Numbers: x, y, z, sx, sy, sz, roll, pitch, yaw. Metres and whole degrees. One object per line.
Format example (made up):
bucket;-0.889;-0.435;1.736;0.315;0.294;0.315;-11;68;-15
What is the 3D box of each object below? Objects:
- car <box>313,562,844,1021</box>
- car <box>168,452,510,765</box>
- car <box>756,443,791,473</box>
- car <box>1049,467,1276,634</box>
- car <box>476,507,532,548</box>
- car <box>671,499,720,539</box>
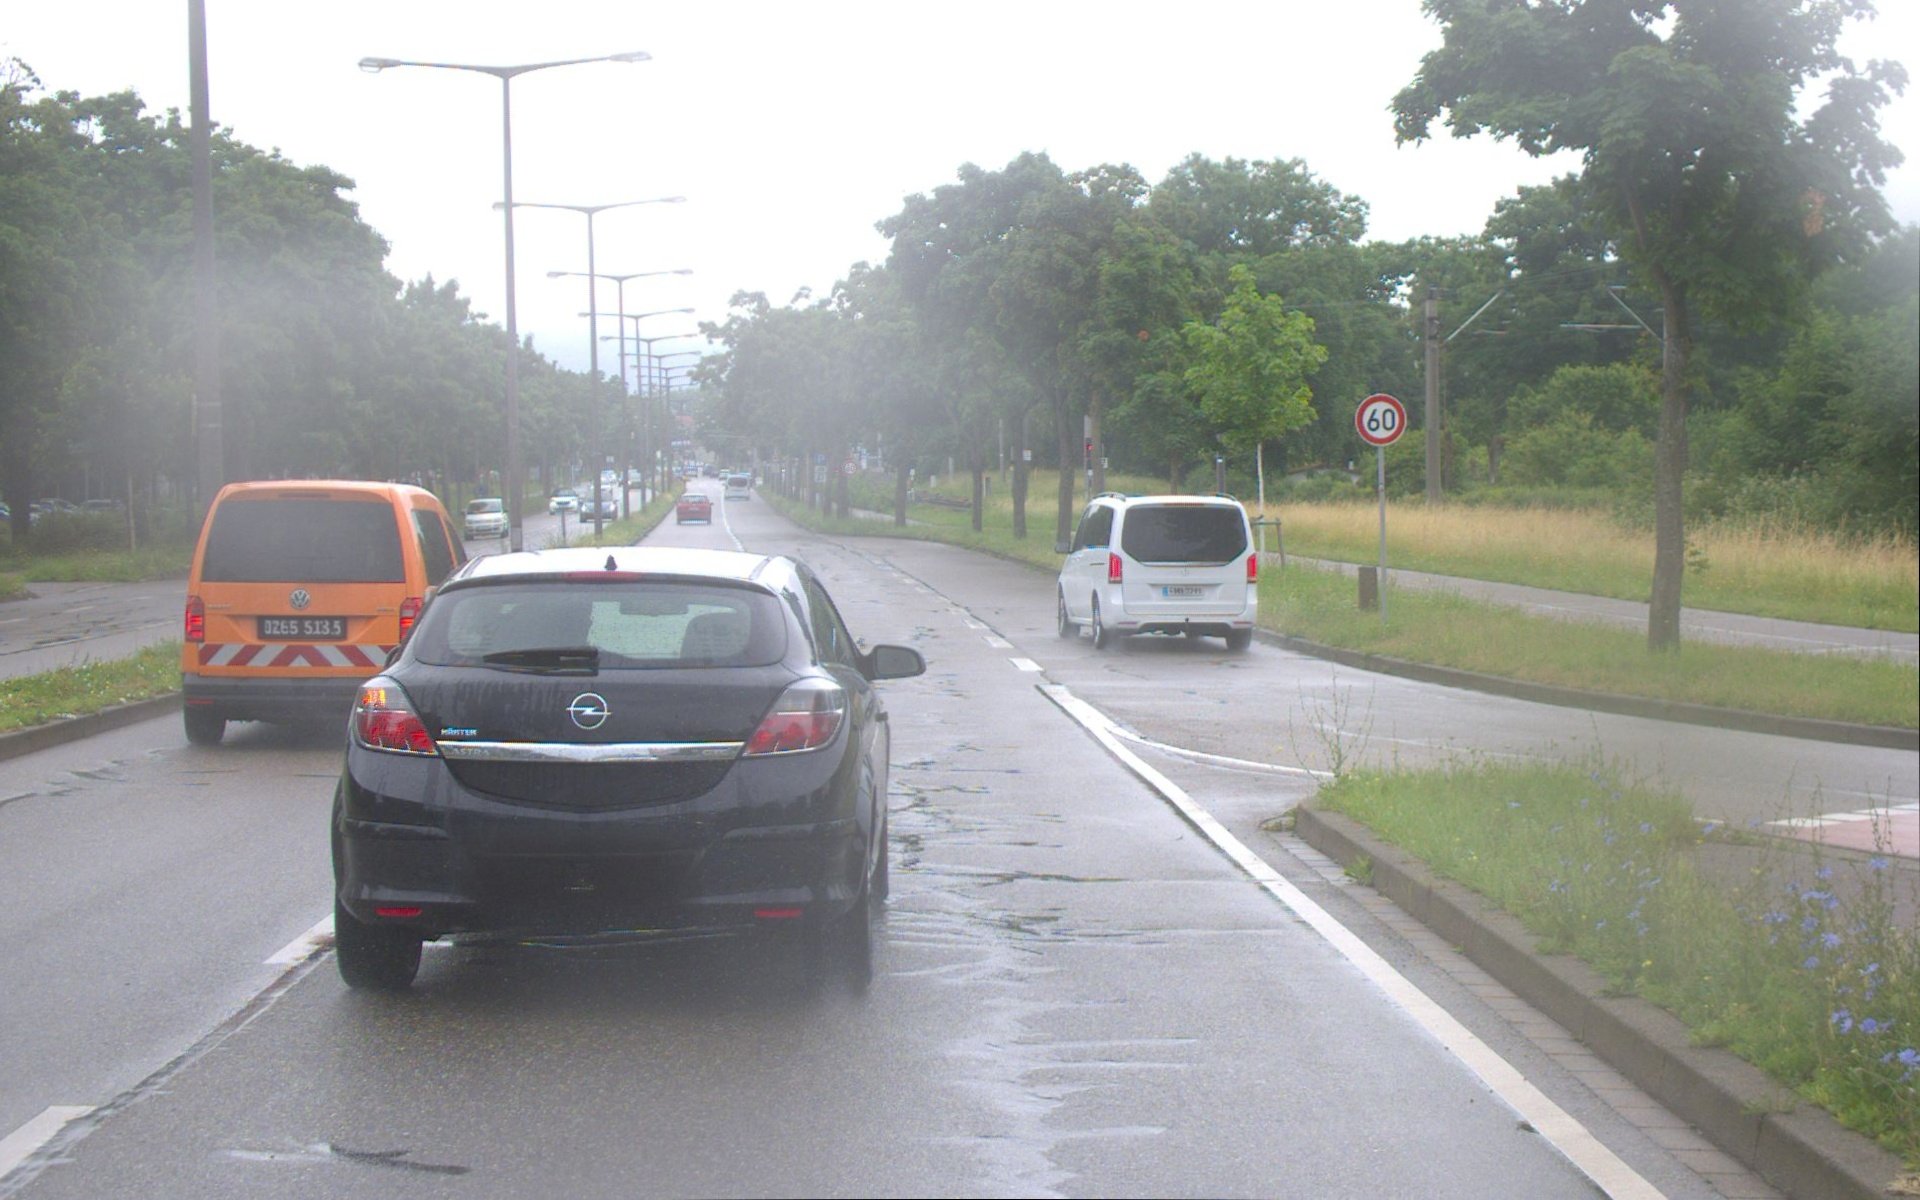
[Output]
car;-1.207;0.555;12.173;1.463;1.324;3.758;0;1;0
car;-4.337;-0.008;24.685;1.734;2.012;4.850;0;2;-2
car;-13.890;-10.539;255.794;2.516;2.045;5.294;1;1;-3
car;2.460;-0.625;42.891;2.058;1.968;4.610;0;1;-6
car;-17.686;-2.796;133.380;1.683;1.548;4.000;1;1;-1
car;-12.504;-3.816;162.689;1.993;1.873;4.000;0;1;0
